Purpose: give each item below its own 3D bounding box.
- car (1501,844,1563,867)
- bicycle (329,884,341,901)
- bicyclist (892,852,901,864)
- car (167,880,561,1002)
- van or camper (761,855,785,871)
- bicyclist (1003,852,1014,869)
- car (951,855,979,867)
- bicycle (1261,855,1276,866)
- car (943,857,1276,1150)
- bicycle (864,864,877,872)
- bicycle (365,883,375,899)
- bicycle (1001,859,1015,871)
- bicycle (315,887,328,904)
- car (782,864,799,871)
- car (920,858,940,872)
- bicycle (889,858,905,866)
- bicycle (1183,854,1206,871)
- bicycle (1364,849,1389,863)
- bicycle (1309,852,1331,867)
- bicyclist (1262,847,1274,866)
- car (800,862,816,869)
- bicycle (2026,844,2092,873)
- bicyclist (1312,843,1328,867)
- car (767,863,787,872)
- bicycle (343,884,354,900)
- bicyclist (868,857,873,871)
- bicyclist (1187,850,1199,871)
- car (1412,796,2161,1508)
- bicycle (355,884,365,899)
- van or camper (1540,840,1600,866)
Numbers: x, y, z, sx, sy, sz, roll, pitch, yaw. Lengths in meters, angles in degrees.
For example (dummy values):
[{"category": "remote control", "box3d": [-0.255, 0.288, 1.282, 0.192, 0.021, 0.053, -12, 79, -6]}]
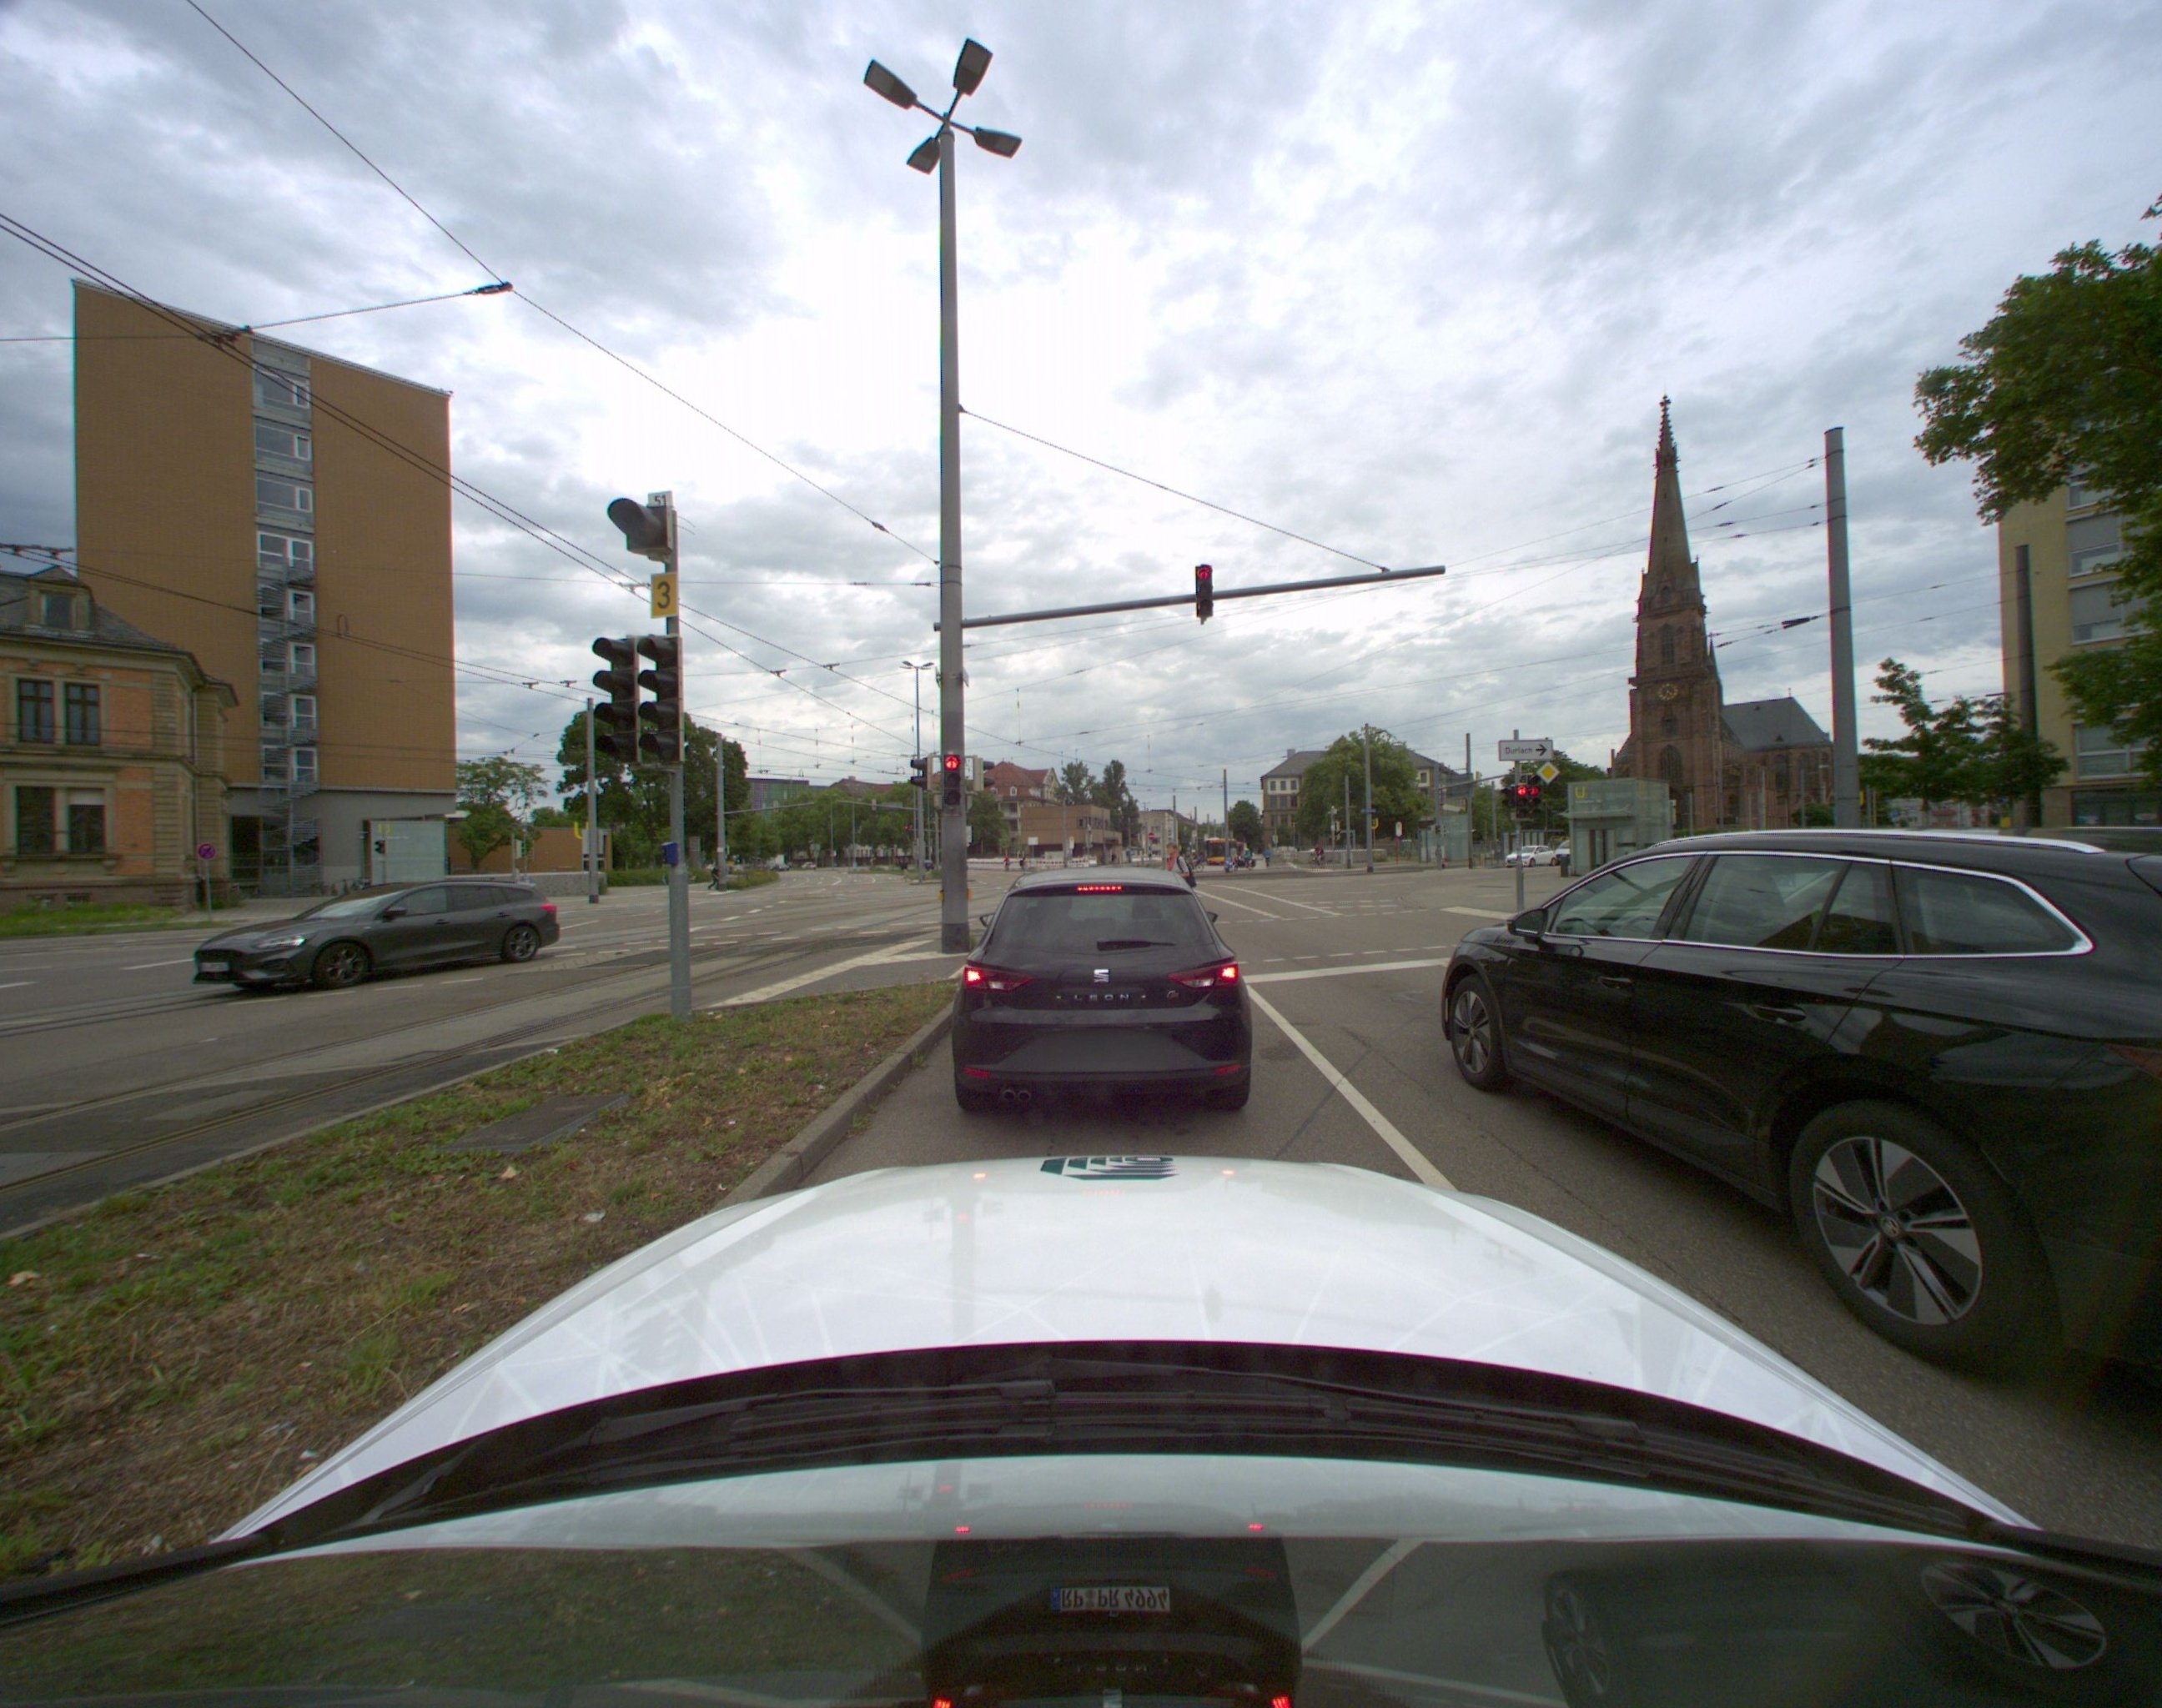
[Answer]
[{"category": "car", "box3d": [30.383, 0.093, 54.832, 4.011, 1.464, 1.758, -1, -2, -30]}, {"category": "bicycle", "box3d": [-51.158, 2.646, 55.845, 0.575, 1.106, 1.411, -1, 0, -41]}, {"category": "bicyclist", "box3d": [-30.276, 0.657, 133.771, 0.928, 2.013, 0.984, -2, 0, 30]}, {"category": "car", "box3d": [-10.827, 1.208, 12.817, 1.680, 1.396, 4.411, -2, 0, 16]}, {"category": "van or camper", "box3d": [-62.830, 1.767, 166.000, 5.434, 3.124, 2.410, -2, 0, 43]}, {"category": "bicyclist", "box3d": [-7.481, 0.685, 83.992, 0.886, 1.732, 0.888, -1, 0, -20]}, {"category": "car", "box3d": [-17.605, 1.060, 123.675, 3.970, 1.684, 2.001, -2, -1, 3]}, {"category": "bicycle", "box3d": [18.790, 0.646, 81.730, 0.863, 1.104, 2.299, -1, 0, -3]}, {"category": "car", "box3d": [0.090, 0.774, 6.116, 1.700, 1.449, 3.809, -1, 0, -2]}, {"category": "bicycle", "box3d": [-30.975, 2.068, 119.778, 0.429, 1.236, 1.838, -3, -2, 45]}, {"category": "bicycle", "box3d": [-49.840, 2.583, 57.080, 0.484, 1.049, 1.411, -1, 0, -41]}, {"category": "bicycle", "box3d": [-7.583, 1.159, 84.352, 0.895, 1.178, 2.287, -1, 0, -20]}, {"category": "bicycle", "box3d": [-51.642, 2.786, 55.368, 0.575, 1.106, 1.411, -1, 0, -41]}, {"category": "car", "box3d": [-59.731, 2.779, 167.271, 3.950, 1.464, 1.792, -1, 0, 45]}, {"category": "car", "box3d": [-19.572, 1.403, 105.430, 2.000, 1.684, 3.973, -1, -1, -20]}, {"category": "bicycle", "box3d": [-30.229, 1.293, 133.788, 0.930, 1.179, 2.747, -2, 0, 30]}, {"category": "bicycle", "box3d": [9.052, 0.709, 65.155, 1.725, 1.321, 0.645, -2, 0, -2]}, {"category": "bicycle", "box3d": [29.655, 0.199, 81.735, 2.248, 1.331, 0.709, -2, -2, 9]}, {"category": "bicycle", "box3d": [18.905, 0.418, 64.406, 2.044, 1.184, 0.768, -1, 0, -44]}, {"category": "bicyclist", "box3d": [18.788, 0.250, 81.627, 0.869, 1.851, 1.046, -1, 0, -4]}, {"category": "car", "box3d": [-53.616, 2.254, 159.866, 1.790, 1.464, 3.956, -1, 0, -36]}, {"category": "bicycle", "box3d": [31.506, 0.145, 26.240, 0.596, 0.917, 1.253, -1, 0, -28]}, {"category": "bicyclist", "box3d": [18.892, 0.083, 64.376, 1.003, 1.898, 0.768, -1, -1, -44]}, {"category": "car", "box3d": [-54.028, 2.432, 144.657, 1.792, 1.464, 3.950, -1, 0, -45]}, {"category": "bicycle", "box3d": [-50.655, 2.637, 56.290, 0.512, 1.049, 1.411, -1, 0, -41]}, {"category": "bicyclist", "box3d": [-30.958, 1.466, 119.823, 0.508, 2.014, 0.593, -3, -2, 44]}, {"category": "bicyclist", "box3d": [8.957, 0.514, 65.152, 0.852, 1.673, 0.654, -1, 0, -2]}, {"category": "car", "box3d": [3.323, 0.653, 3.779, 1.771, 1.597, 4.510, -1, 0, 1]}, {"category": "bicycle", "box3d": [-50.242, 2.607, 56.729, 0.484, 1.049, 1.411, -1, 0, -41]}, {"category": "van or camper", "box3d": [35.271, -0.077, 58.689, 4.321, 1.742, 1.979, -1, -2, -34]}]
